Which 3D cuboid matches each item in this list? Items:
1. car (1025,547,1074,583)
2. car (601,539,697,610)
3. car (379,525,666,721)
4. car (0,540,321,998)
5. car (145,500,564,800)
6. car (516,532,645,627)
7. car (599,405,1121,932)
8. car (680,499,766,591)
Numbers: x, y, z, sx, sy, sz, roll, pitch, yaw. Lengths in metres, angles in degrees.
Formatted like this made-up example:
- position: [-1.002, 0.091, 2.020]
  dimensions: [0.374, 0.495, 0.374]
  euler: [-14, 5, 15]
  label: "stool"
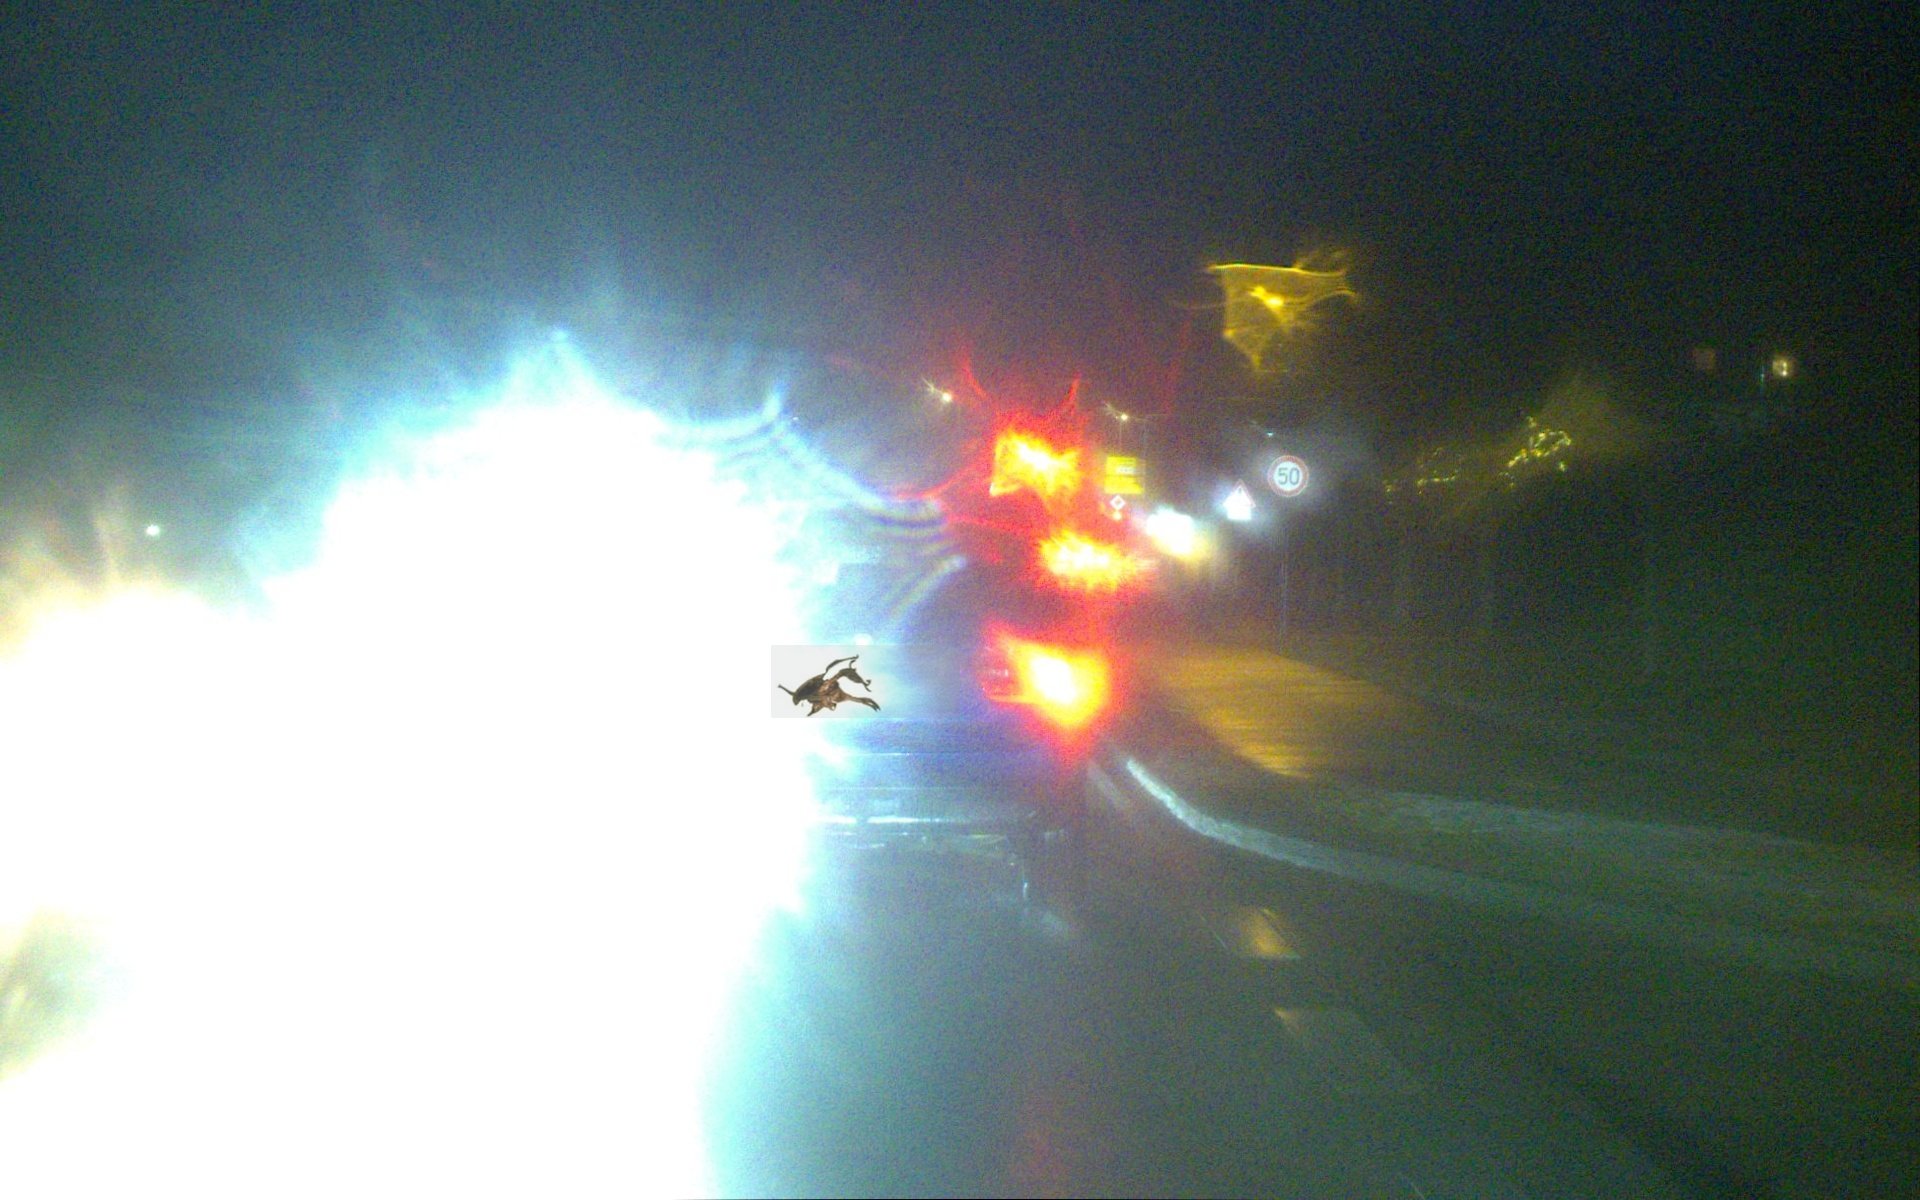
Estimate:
- position: [3.604, -1.392, 138.238]
  dimensions: [1.663, 1.445, 4.049]
  euler: [0, 0, 6]
  label: "car"
- position: [-6.806, -0.580, 75.429]
  dimensions: [1.720, 1.502, 3.828]
  euler: [1, 1, 0]
  label: "car"
- position: [-3.733, 0.139, 30.042]
  dimensions: [1.844, 1.569, 4.597]
  euler: [0, 1, 1]
  label: "car"
- position: [-3.552, 0.516, 13.082]
  dimensions: [1.622, 1.468, 3.885]
  euler: [0, 1, -2]
  label: "car"
- position: [-3.628, 0.234, 21.376]
  dimensions: [1.844, 1.663, 4.445]
  euler: [0, 1, 0]
  label: "car"
- position: [-6.758, -0.388, 61.596]
  dimensions: [1.805, 1.624, 4.416]
  euler: [1, 1, 0]
  label: "car"
- position: [-0.420, 0.217, 15.020]
  dimensions: [1.942, 1.965, 4.218]
  euler: [1, 1, -1]
  label: "car"
- position: [-7.194, -1.683, 105.066]
  dimensions: [2.122, 2.698, 6.241]
  euler: [1, 1, 1]
  label: "car"
